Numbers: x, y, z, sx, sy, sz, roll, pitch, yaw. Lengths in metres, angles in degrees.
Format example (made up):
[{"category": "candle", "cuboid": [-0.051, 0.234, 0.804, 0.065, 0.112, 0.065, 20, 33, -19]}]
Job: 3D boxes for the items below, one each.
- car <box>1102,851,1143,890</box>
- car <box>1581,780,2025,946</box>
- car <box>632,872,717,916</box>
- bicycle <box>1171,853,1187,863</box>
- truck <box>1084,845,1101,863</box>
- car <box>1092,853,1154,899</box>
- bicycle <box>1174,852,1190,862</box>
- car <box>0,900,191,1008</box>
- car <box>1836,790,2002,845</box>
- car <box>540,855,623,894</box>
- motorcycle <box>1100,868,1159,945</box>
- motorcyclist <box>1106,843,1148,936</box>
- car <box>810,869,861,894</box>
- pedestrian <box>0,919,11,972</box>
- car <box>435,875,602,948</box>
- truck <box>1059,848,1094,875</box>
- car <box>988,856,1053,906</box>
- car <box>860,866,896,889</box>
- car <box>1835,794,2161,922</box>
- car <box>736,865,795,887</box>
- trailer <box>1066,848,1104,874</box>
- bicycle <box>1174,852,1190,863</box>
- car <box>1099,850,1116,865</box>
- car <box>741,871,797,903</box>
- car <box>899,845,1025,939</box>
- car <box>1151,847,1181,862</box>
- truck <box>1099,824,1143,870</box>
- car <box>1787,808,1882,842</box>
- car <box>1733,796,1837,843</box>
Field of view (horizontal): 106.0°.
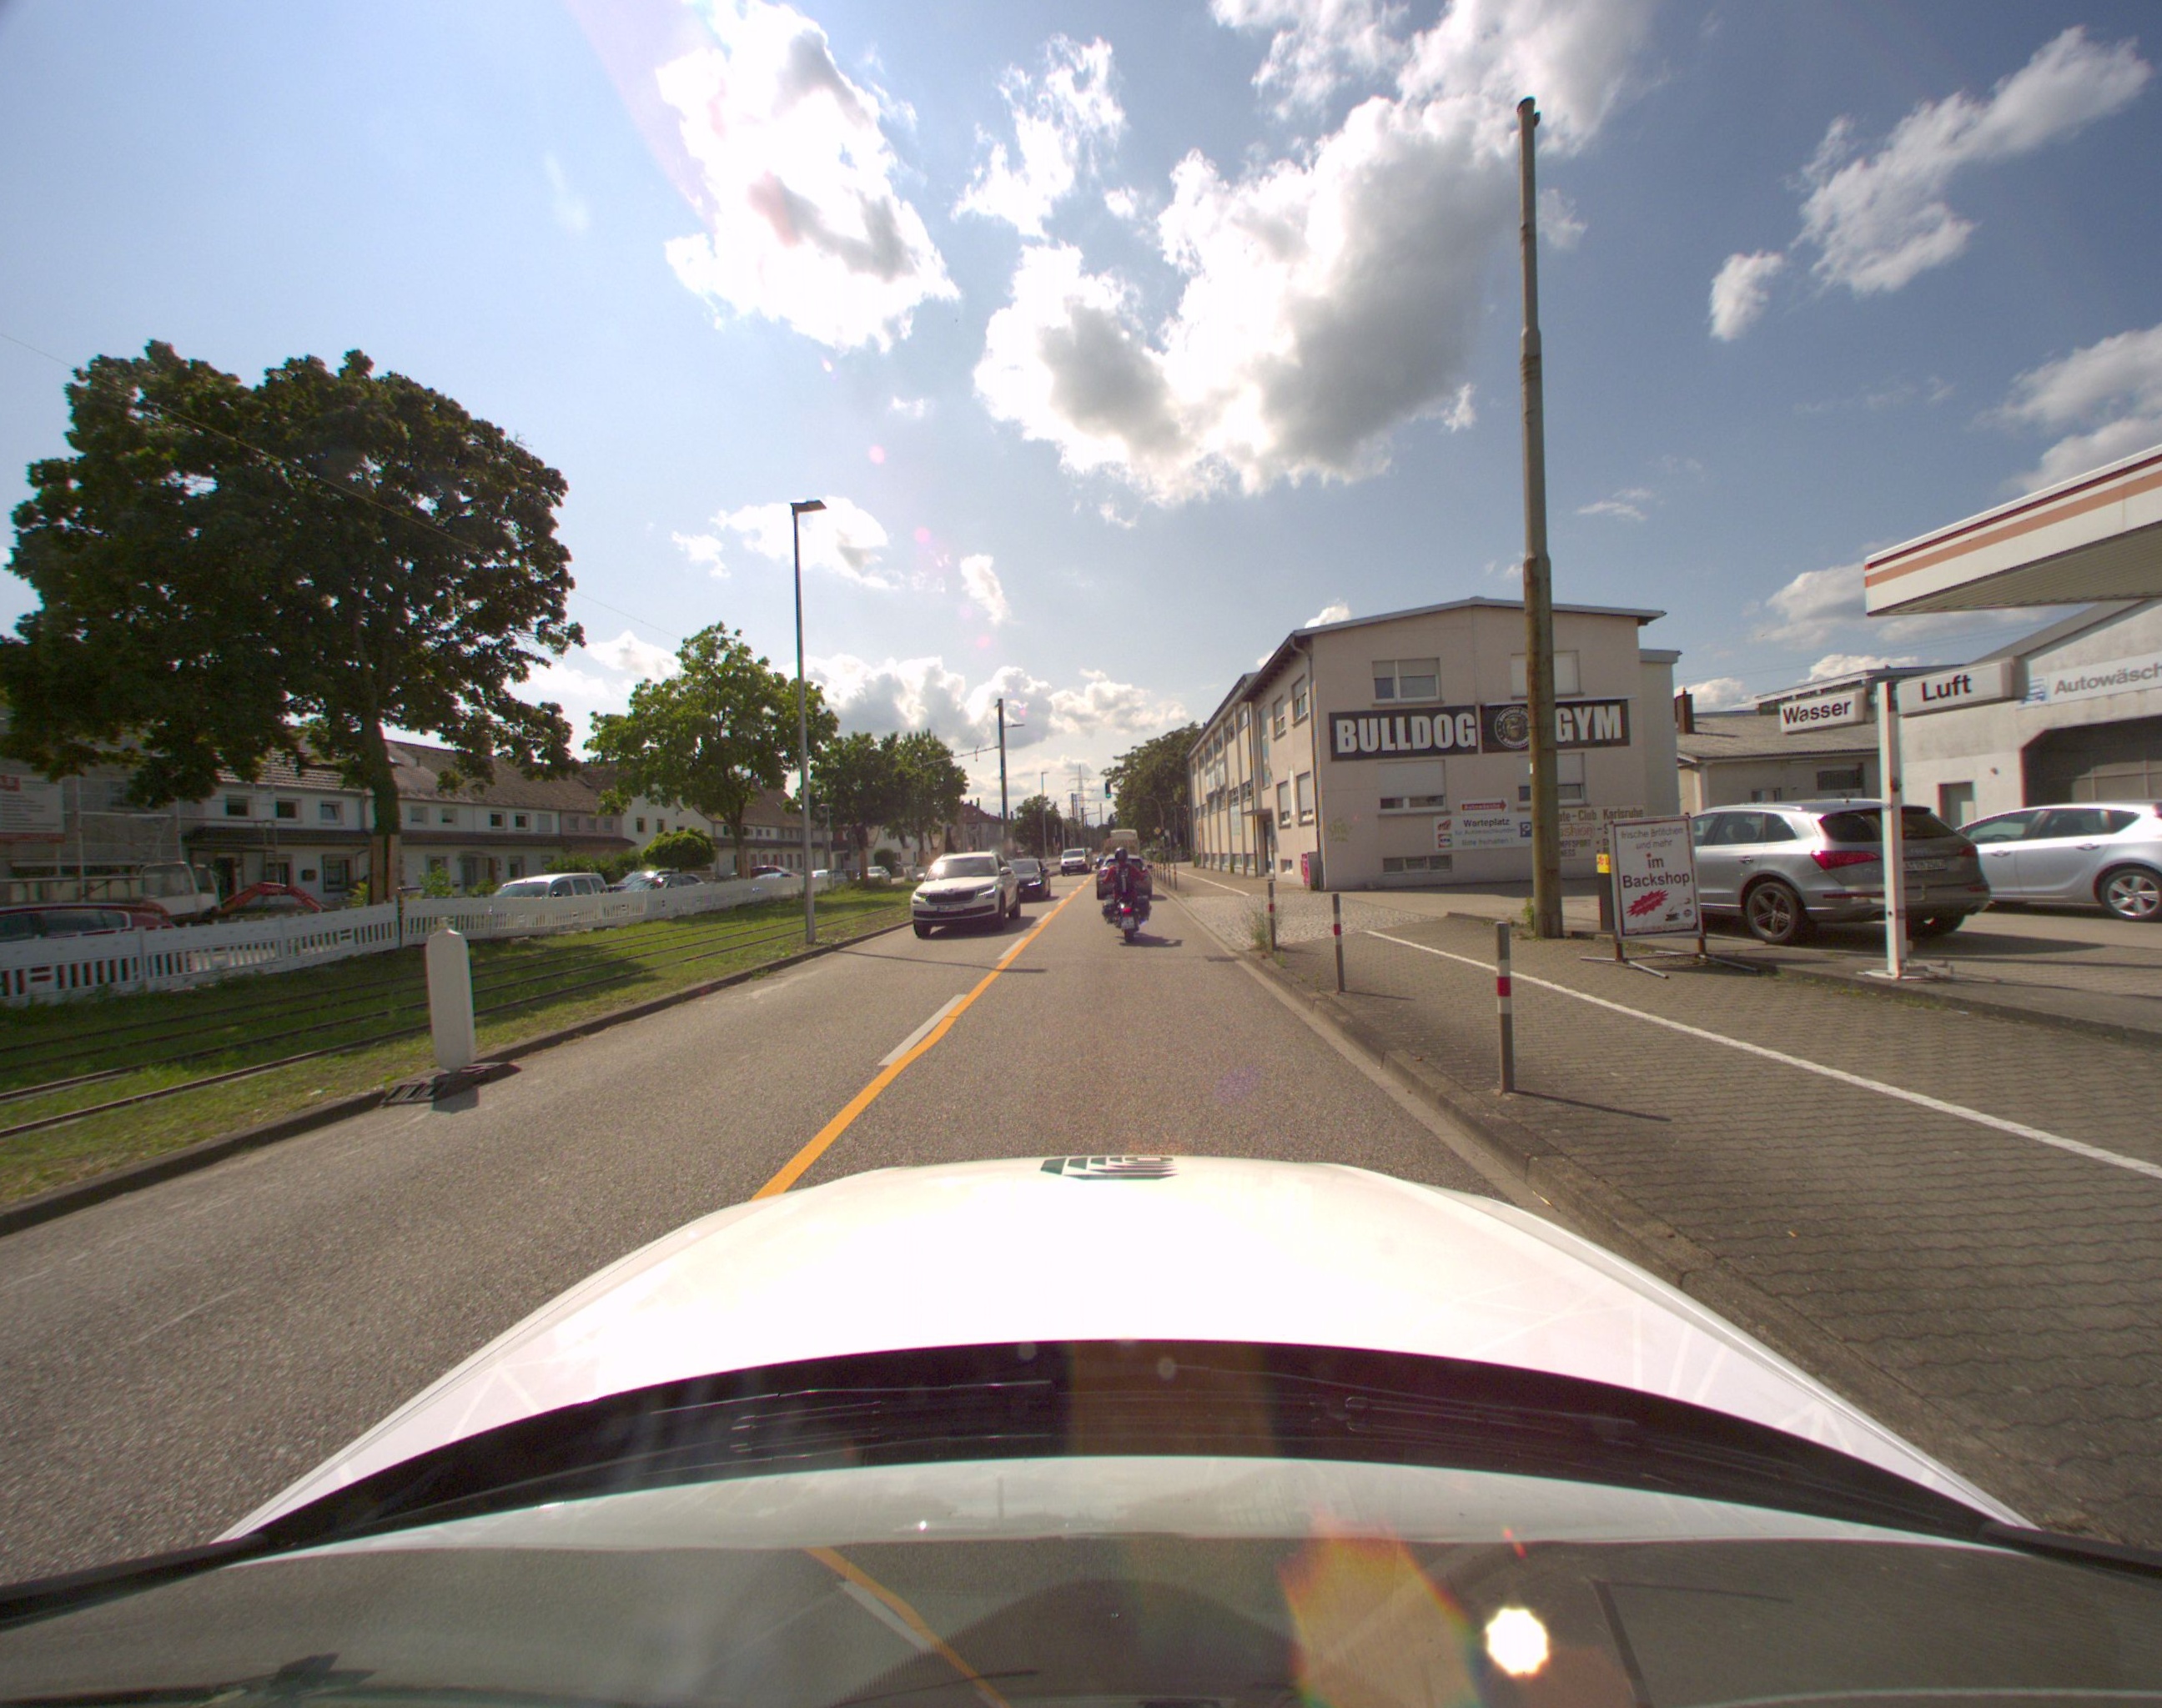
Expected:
[{"category": "car", "cuboid": [2.157, 0.775, 41.275, 1.893, 1.712, 4.725, -3, 1, 4]}, {"category": "car", "cuboid": [8.930, 0.099, 10.799, 1.937, 1.625, 4.620, -3, 0, 4]}, {"category": "car", "cuboid": [-14.662, 1.417, 29.516, 1.345, 1.377, 3.116, -4, -1, 2]}, {"category": "bicycle", "cuboid": [11.006, 0.436, 91.275, 1.698, 1.172, 0.439, -1, -1, 7]}, {"category": "truck", "cuboid": [1.664, -0.030, 120.326, 2.084, 2.476, 5.201, -4, 1, 3]}, {"category": "car", "cuboid": [1.326, 0.688, 27.203, 1.727, 1.403, 4.083, -1, 0, -2]}, {"category": "bicycle", "cuboid": [11.161, 0.332, 90.237, 1.698, 1.172, 0.439, -1, -1, 7]}, {"category": "car", "cuboid": [-15.082, 1.452, 11.987, 1.067, 1.348, 2.453, -4, -1, 6]}, {"category": "car", "cuboid": [27.776, -1.146, 27.180, 1.507, 1.543, 3.944, -4, 0, 3]}, {"category": "car", "cuboid": [-27.566, 1.082, 45.085, 1.986, 2.014, 4.002, -1, -1, 2]}, {"category": "motorcycle", "cuboid": [0.854, 0.880, 14.550, 0.939, 1.200, 2.474, -1, 0, 3]}, {"category": "motorcyclist", "cuboid": [0.816, 0.616, 14.379, 0.695, 1.604, 0.692, -1, -1, 2]}, {"category": "car", "cuboid": [-13.583, 1.510, 45.272, 1.497, 1.176, 3.750, -3, 0, 2]}, {"category": "pedestrian", "cuboid": [-28.467, 2.405, 21.270, 0.421, 1.376, 0.471, -1, -1, 2]}, {"category": "car", "cuboid": [-15.089, 1.471, 22.130, 1.616, 1.651, 3.901, -4, -1, 2]}, {"category": "truck", "cuboid": [-0.257, 0.530, 60.337, 1.809, 1.909, 5.128, -1, 0, 8]}, {"category": "car", "cuboid": [-1.988, 0.881, 27.783, 1.686, 1.412, 3.861, -6, -1, 2]}, {"category": "car", "cuboid": [-14.045, 1.607, 56.586, 1.537, 1.376, 4.247, -5, 0, -3]}, {"category": "car", "cuboid": [13.287, 0.019, 11.175, 1.686, 1.471, 4.422, -4, -1, 0]}, {"category": "car", "cuboid": [-25.544, 1.772, 66.020, 3.972, 1.509, 1.726, -3, 0, 1]}, {"category": "trailer", "cuboid": [0.341, 0.521, 64.591, 2.050, 1.835, 5.499, -5, -1, 9]}, {"category": "bicycle", "cuboid": [11.257, 0.384, 90.743, 1.698, 1.172, 0.439, -1, -1, 7]}, {"category": "car", "cuboid": [2.802, 0.329, 85.915, 1.638, 1.498, 4.272, -2, 0, 3]}, {"category": "car", "cuboid": [-14.657, 1.523, 38.432, 1.335, 1.325, 3.170, -3, 0, 0]}, {"category": "car", "cuboid": [-2.440, 0.747, 17.861, 1.817, 1.666, 4.464, -4, -1, 2]}, {"category": "car", "cuboid": [11.540, 0.085, 110.489, 4.022, 1.926, 1.781, 0, -1, -42]}, {"category": "truck", "cuboid": [3.120, -0.468, 62.036, 2.953, 3.173, 7.775, -1, -1, 5]}, {"category": "car", "cuboid": [36.206, -1.374, 39.245, 1.491, 1.480, 3.417, -1, -1, 3]}, {"category": "car", "cuboid": [33.629, -1.592, 39.049, 1.780, 2.032, 3.847, -1, -1, 2]}]
